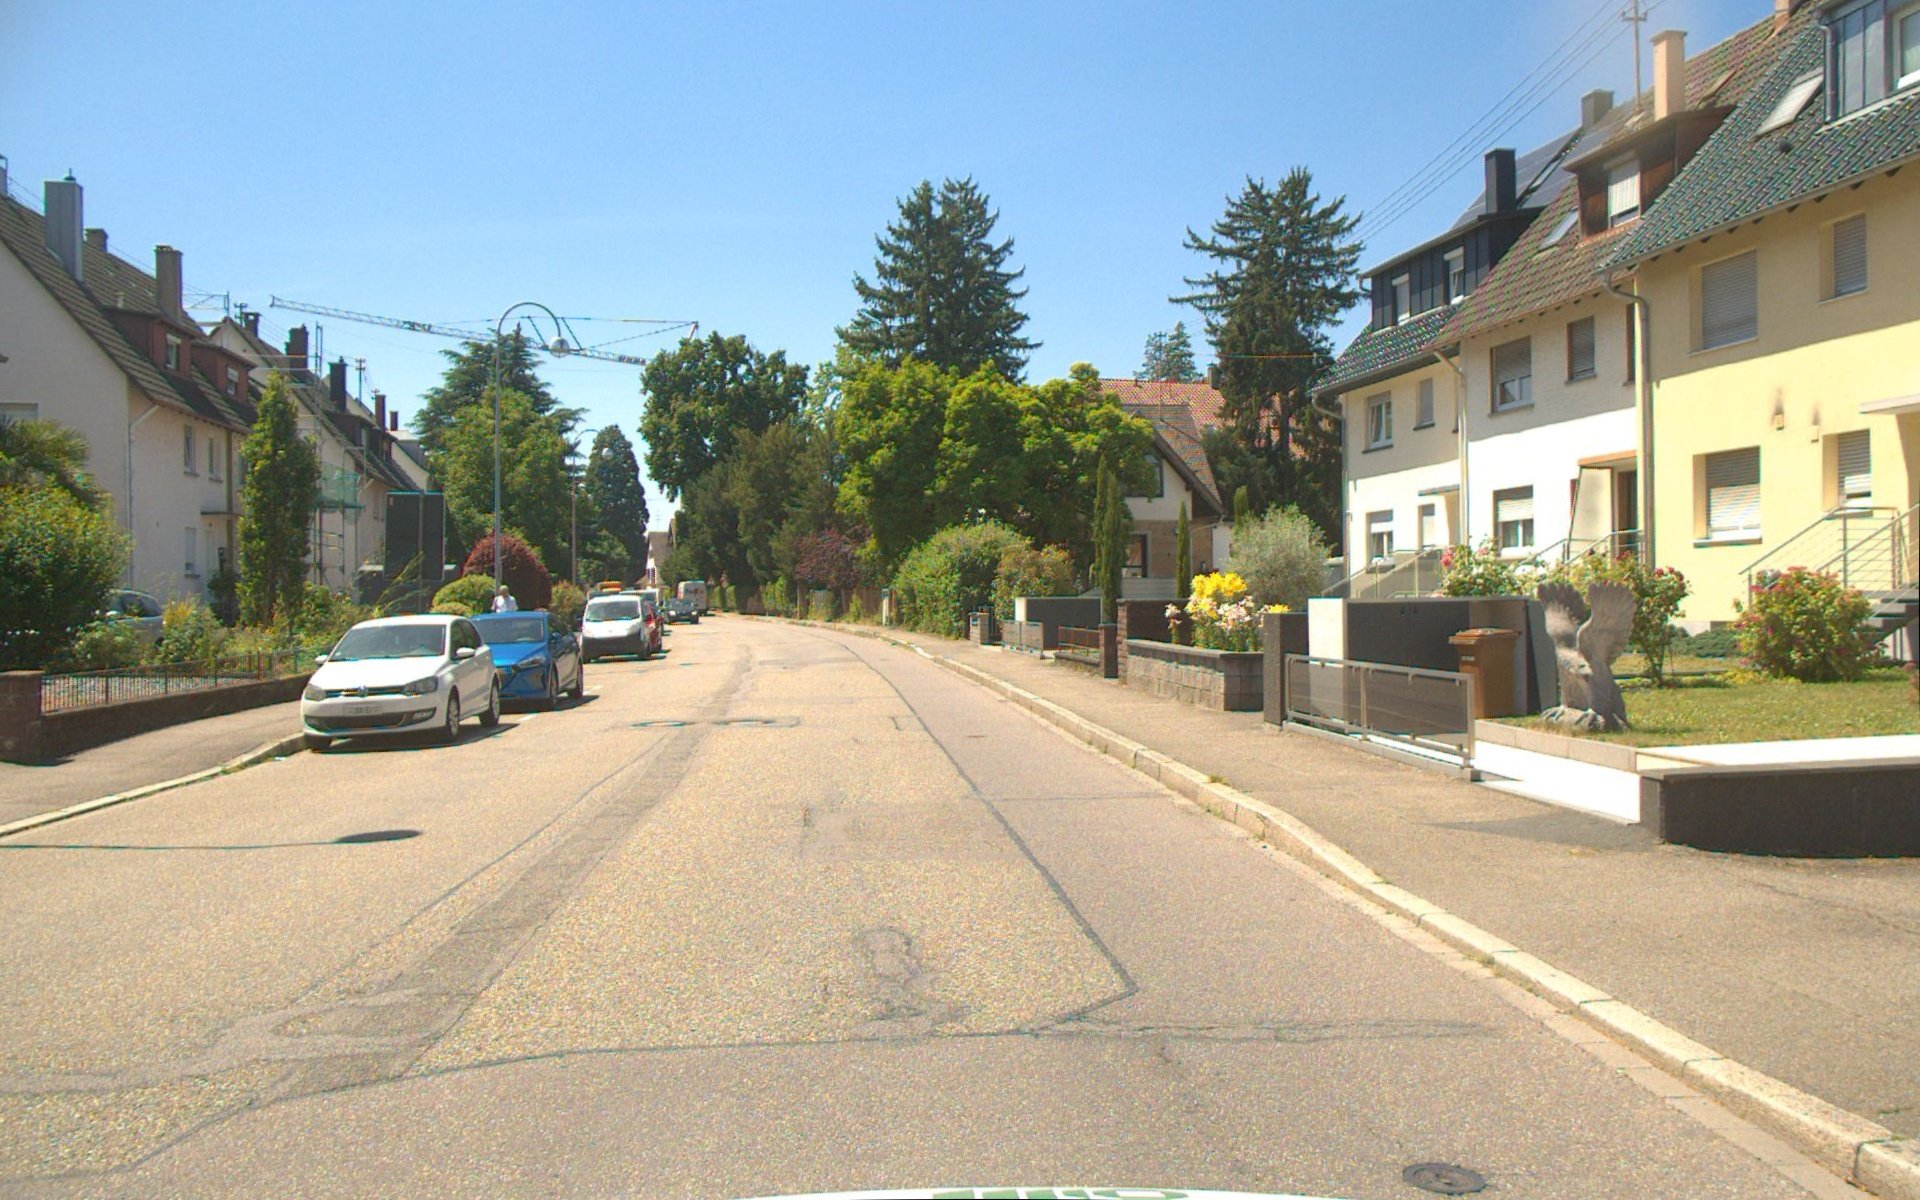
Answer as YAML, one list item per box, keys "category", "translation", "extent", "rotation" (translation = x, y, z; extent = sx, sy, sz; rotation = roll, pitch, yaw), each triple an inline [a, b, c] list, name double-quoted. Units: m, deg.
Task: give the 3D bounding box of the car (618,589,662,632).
- category: "car"
  translation: [-15.050, 0.464, 77.619]
  extent: [1.854, 1.914, 4.964]
  rotation: [-2, 1, -13]

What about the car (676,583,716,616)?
- category: "car"
  translation: [-19.902, -0.065, 124.615]
  extent: [2.111, 2.355, 4.827]
  rotation: [-3, 1, -19]

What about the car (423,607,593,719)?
- category: "car"
  translation: [-6.928, 0.904, 25.783]
  extent: [1.735, 1.464, 4.358]
  rotation: [-3, 0, -5]

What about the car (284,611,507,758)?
- category: "car"
  translation: [-6.660, 0.929, 19.916]
  extent: [1.548, 1.448, 3.937]
  rotation: [-3, 1, -5]

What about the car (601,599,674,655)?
- category: "car"
  translation: [-9.802, 0.780, 50.476]
  extent: [1.727, 1.503, 4.053]
  rotation: [-3, 1, -6]

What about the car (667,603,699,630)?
- category: "car"
  translation: [-15.737, 0.938, 94.026]
  extent: [1.700, 1.441, 3.991]
  rotation: [-2, 0, -9]

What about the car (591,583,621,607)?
- category: "car"
  translation: [-26.802, -0.386, 125.042]
  extent: [1.822, 1.700, 4.691]
  rotation: [-3, 1, -17]

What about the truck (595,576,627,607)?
- category: "truck"
  translation: [-34.001, -0.793, 161.129]
  extent: [2.337, 2.879, 5.628]
  rotation: [-2, 0, -19]

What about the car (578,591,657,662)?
- category: "car"
  translation: [-9.270, 0.681, 45.010]
  extent: [1.690, 1.766, 3.881]
  rotation: [-3, 0, -7]

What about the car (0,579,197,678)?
- category: "car"
  translation: [-14.658, 0.530, 28.006]
  extent: [1.734, 1.534, 4.357]
  rotation: [1, -2, -5]

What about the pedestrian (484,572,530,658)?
- category: "pedestrian"
  translation: [-10.481, 0.350, 38.294]
  extent: [0.675, 1.922, 1.018]
  rotation: [4, -1, -2]

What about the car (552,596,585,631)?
- category: "car"
  translation: [-21.317, 0.715, 90.114]
  extent: [1.620, 1.782, 4.339]
  rotation: [-2, 1, -13]

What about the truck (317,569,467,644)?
- category: "truck"
  translation: [-15.963, 0.167, 46.638]
  extent: [3.698, 1.971, 1.543]
  rotation: [-2, 1, -9]
